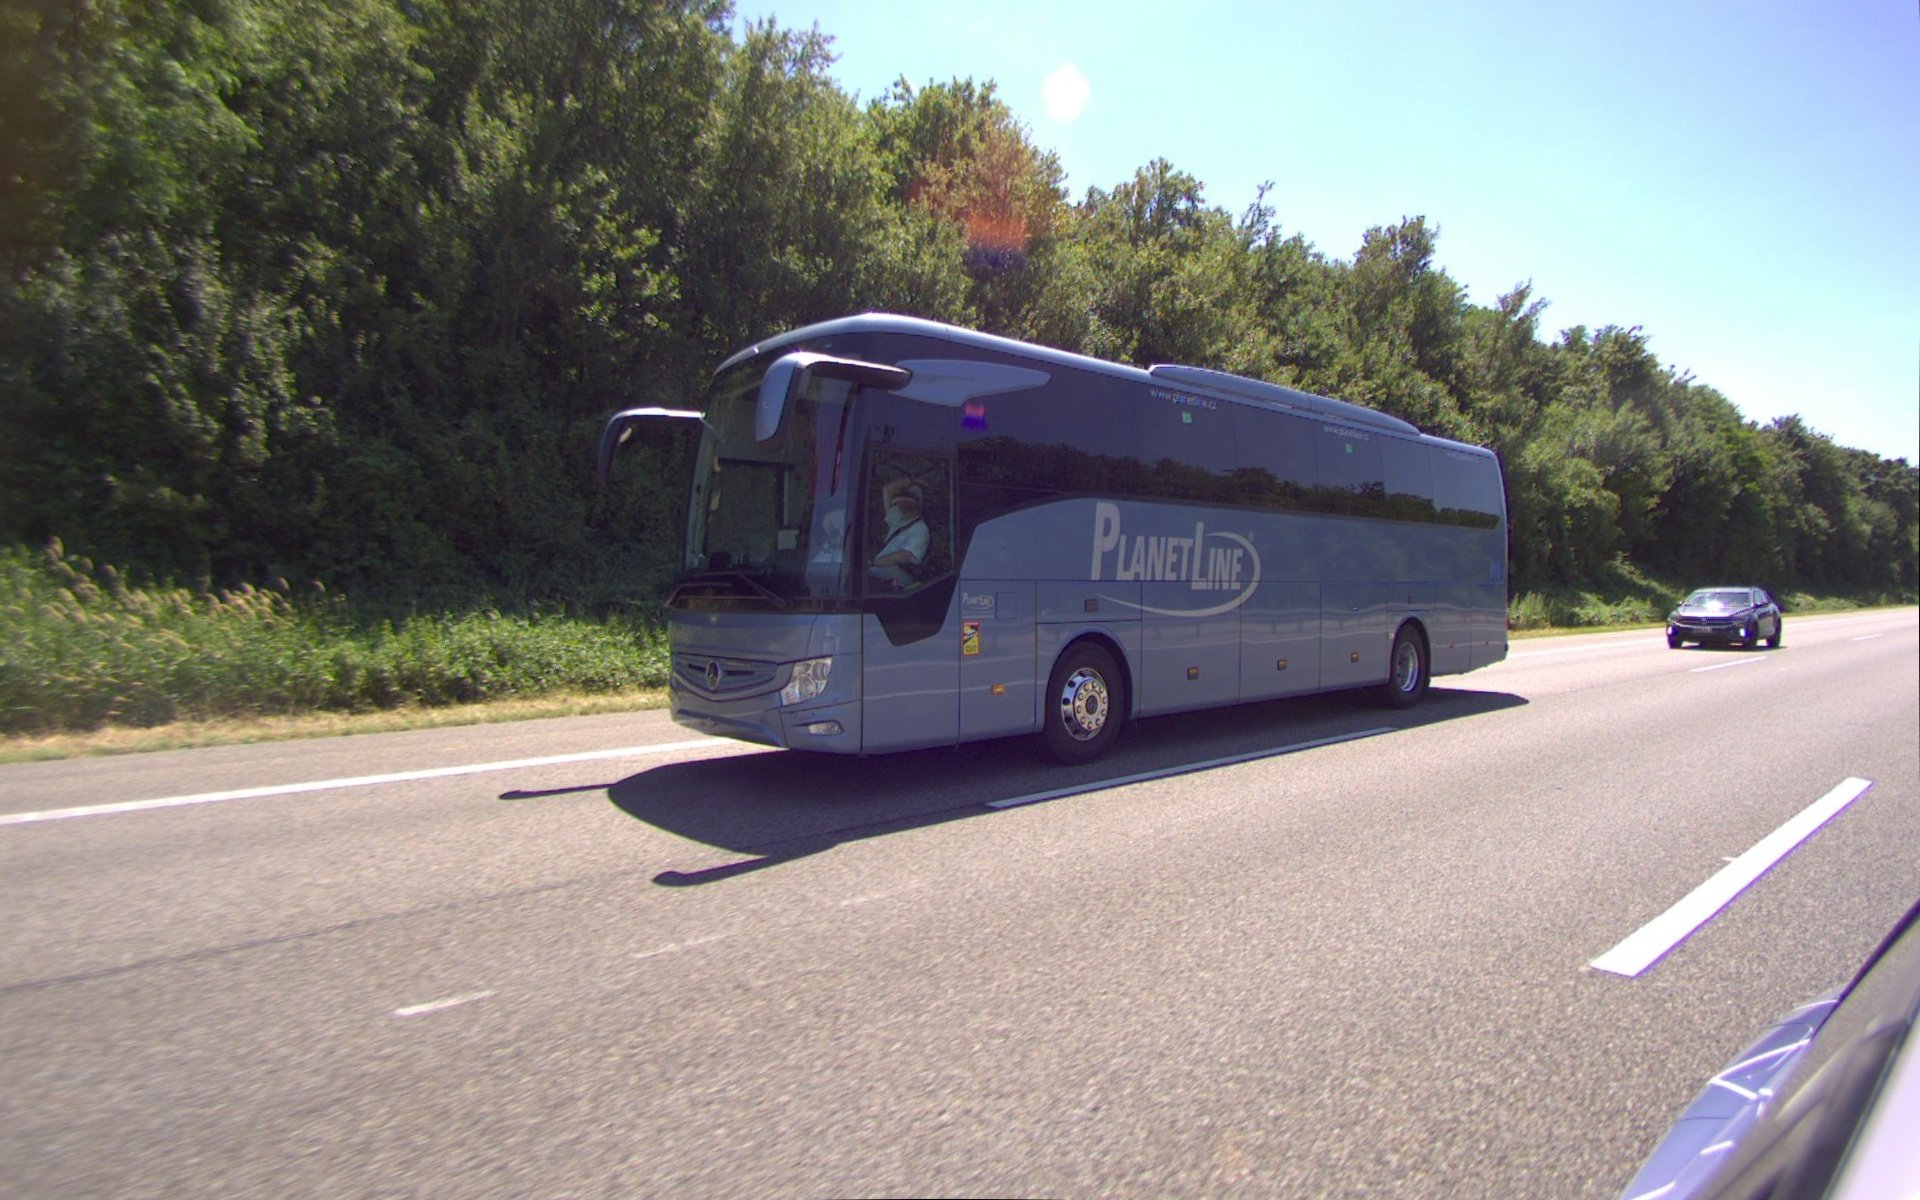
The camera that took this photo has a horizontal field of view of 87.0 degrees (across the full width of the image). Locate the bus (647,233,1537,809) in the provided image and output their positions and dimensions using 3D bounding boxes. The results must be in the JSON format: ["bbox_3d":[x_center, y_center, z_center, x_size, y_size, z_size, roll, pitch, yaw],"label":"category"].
[{"bbox_3d":[2.844,-0.582,11.565,12.260,3.641,2.806,-1,1,-42],"label":"bus"}]

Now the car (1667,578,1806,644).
[{"bbox_3d":[20.153,0.242,26.202,4.675,1.551,1.903,0,1,-40],"label":"car"}]
